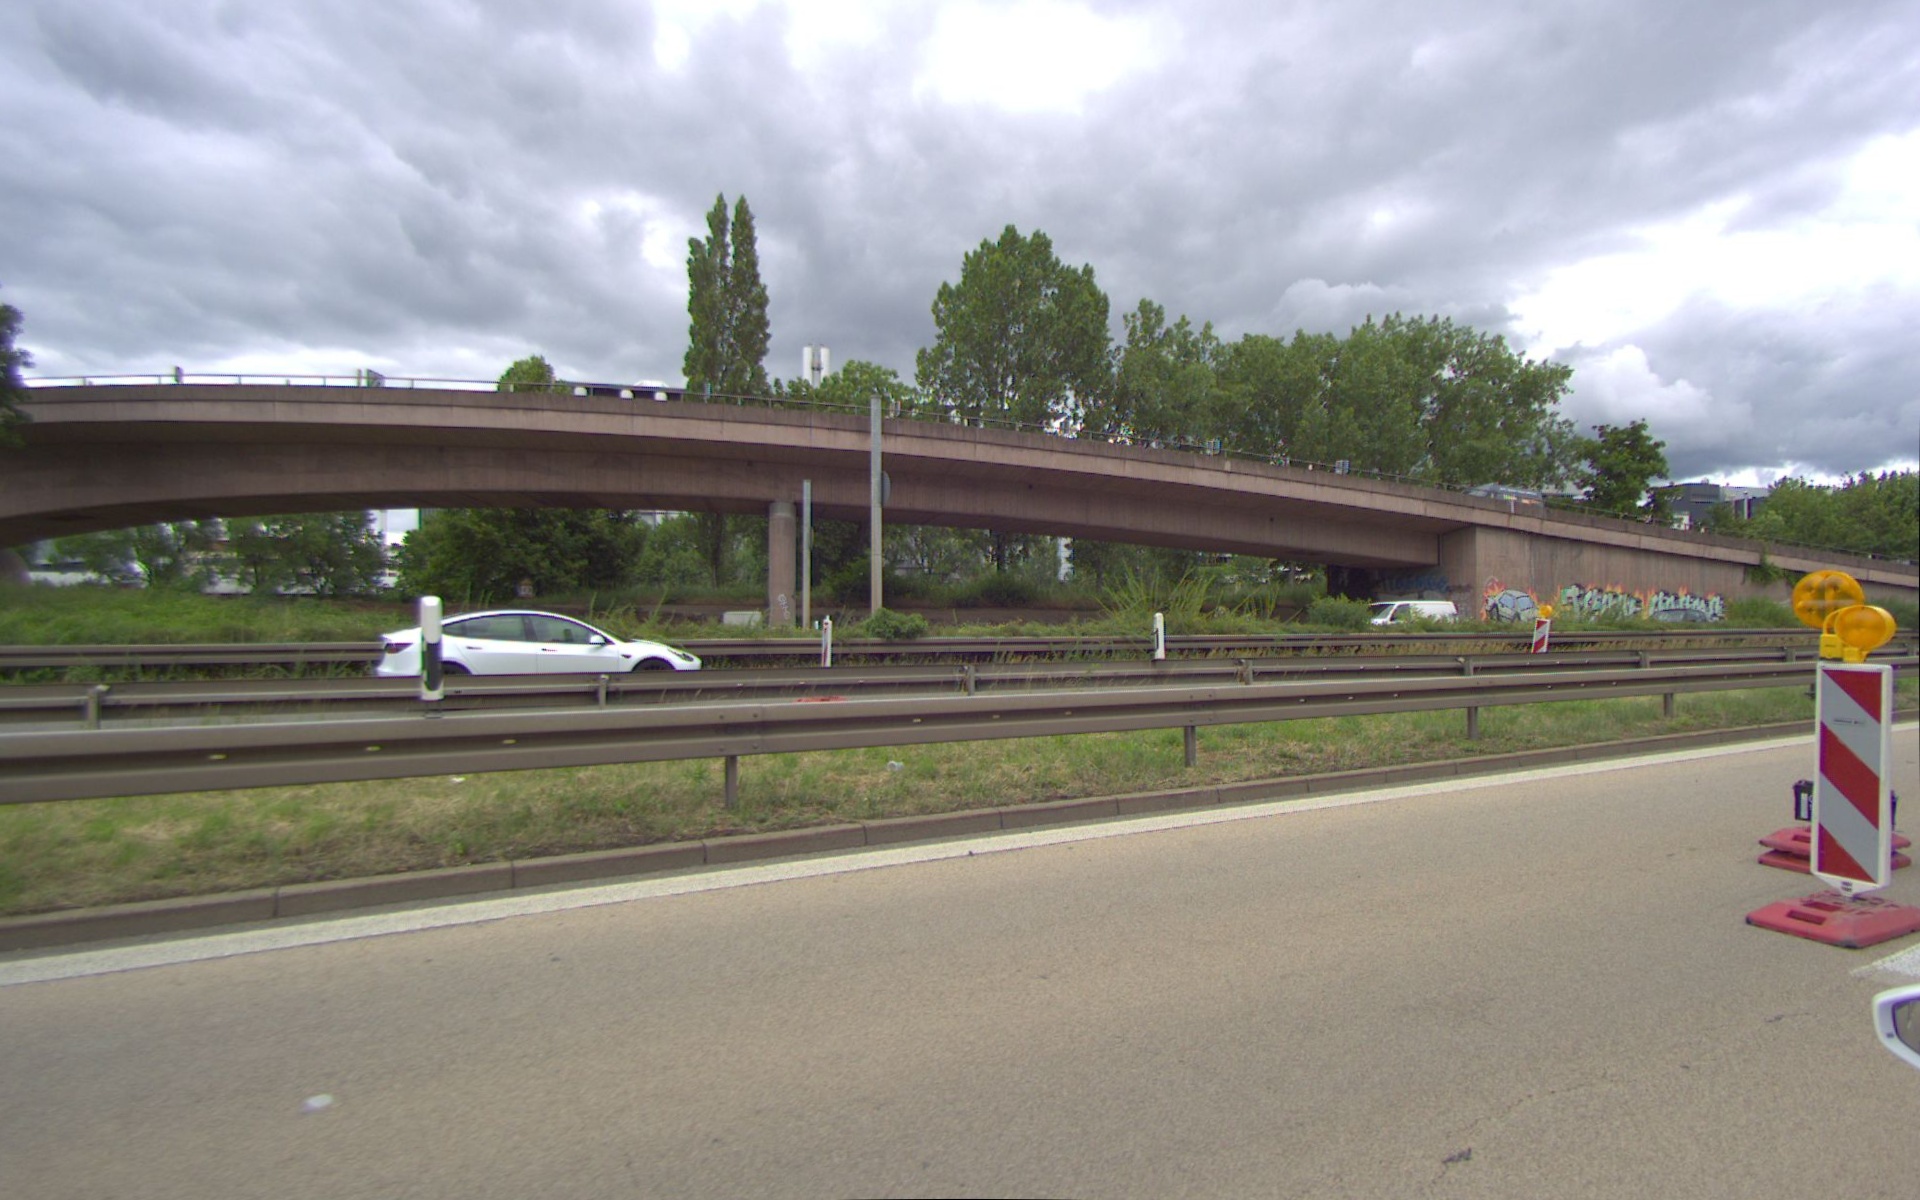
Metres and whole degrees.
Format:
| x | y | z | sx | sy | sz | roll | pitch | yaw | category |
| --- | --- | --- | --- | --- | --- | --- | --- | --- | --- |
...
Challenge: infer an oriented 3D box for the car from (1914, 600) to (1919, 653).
| x | y | z | sx | sy | sz | roll | pitch | yaw | category |
| --- | --- | --- | --- | --- | --- | --- | --- | --- | --- |
| 33.895 | 0.899 | 33.215 | 4.042 | 1.735 | 1.989 | 1 | -1 | -23 | car |

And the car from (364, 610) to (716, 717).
| x | y | z | sx | sy | sz | roll | pitch | yaw | category |
| --- | --- | --- | --- | --- | --- | --- | --- | --- | --- |
| -6.344 | 0.921 | 15.611 | 4.732 | 1.475 | 1.989 | 1 | -1 | -23 | car |

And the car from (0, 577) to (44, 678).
| x | y | z | sx | sy | sz | roll | pitch | yaw | category |
| --- | --- | --- | --- | --- | --- | --- | --- | --- | --- |
| -21.433 | 0.527 | 20.203 | 3.939 | 2.040 | 1.991 | 1 | -1 | -20 | car |

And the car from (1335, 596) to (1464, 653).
| x | y | z | sx | sy | sz | roll | pitch | yaw | category |
| --- | --- | --- | --- | --- | --- | --- | --- | --- | --- |
| 16.558 | 0.928 | 37.827 | 4.648 | 2.040 | 1.986 | 1 | -1 | -27 | car |
